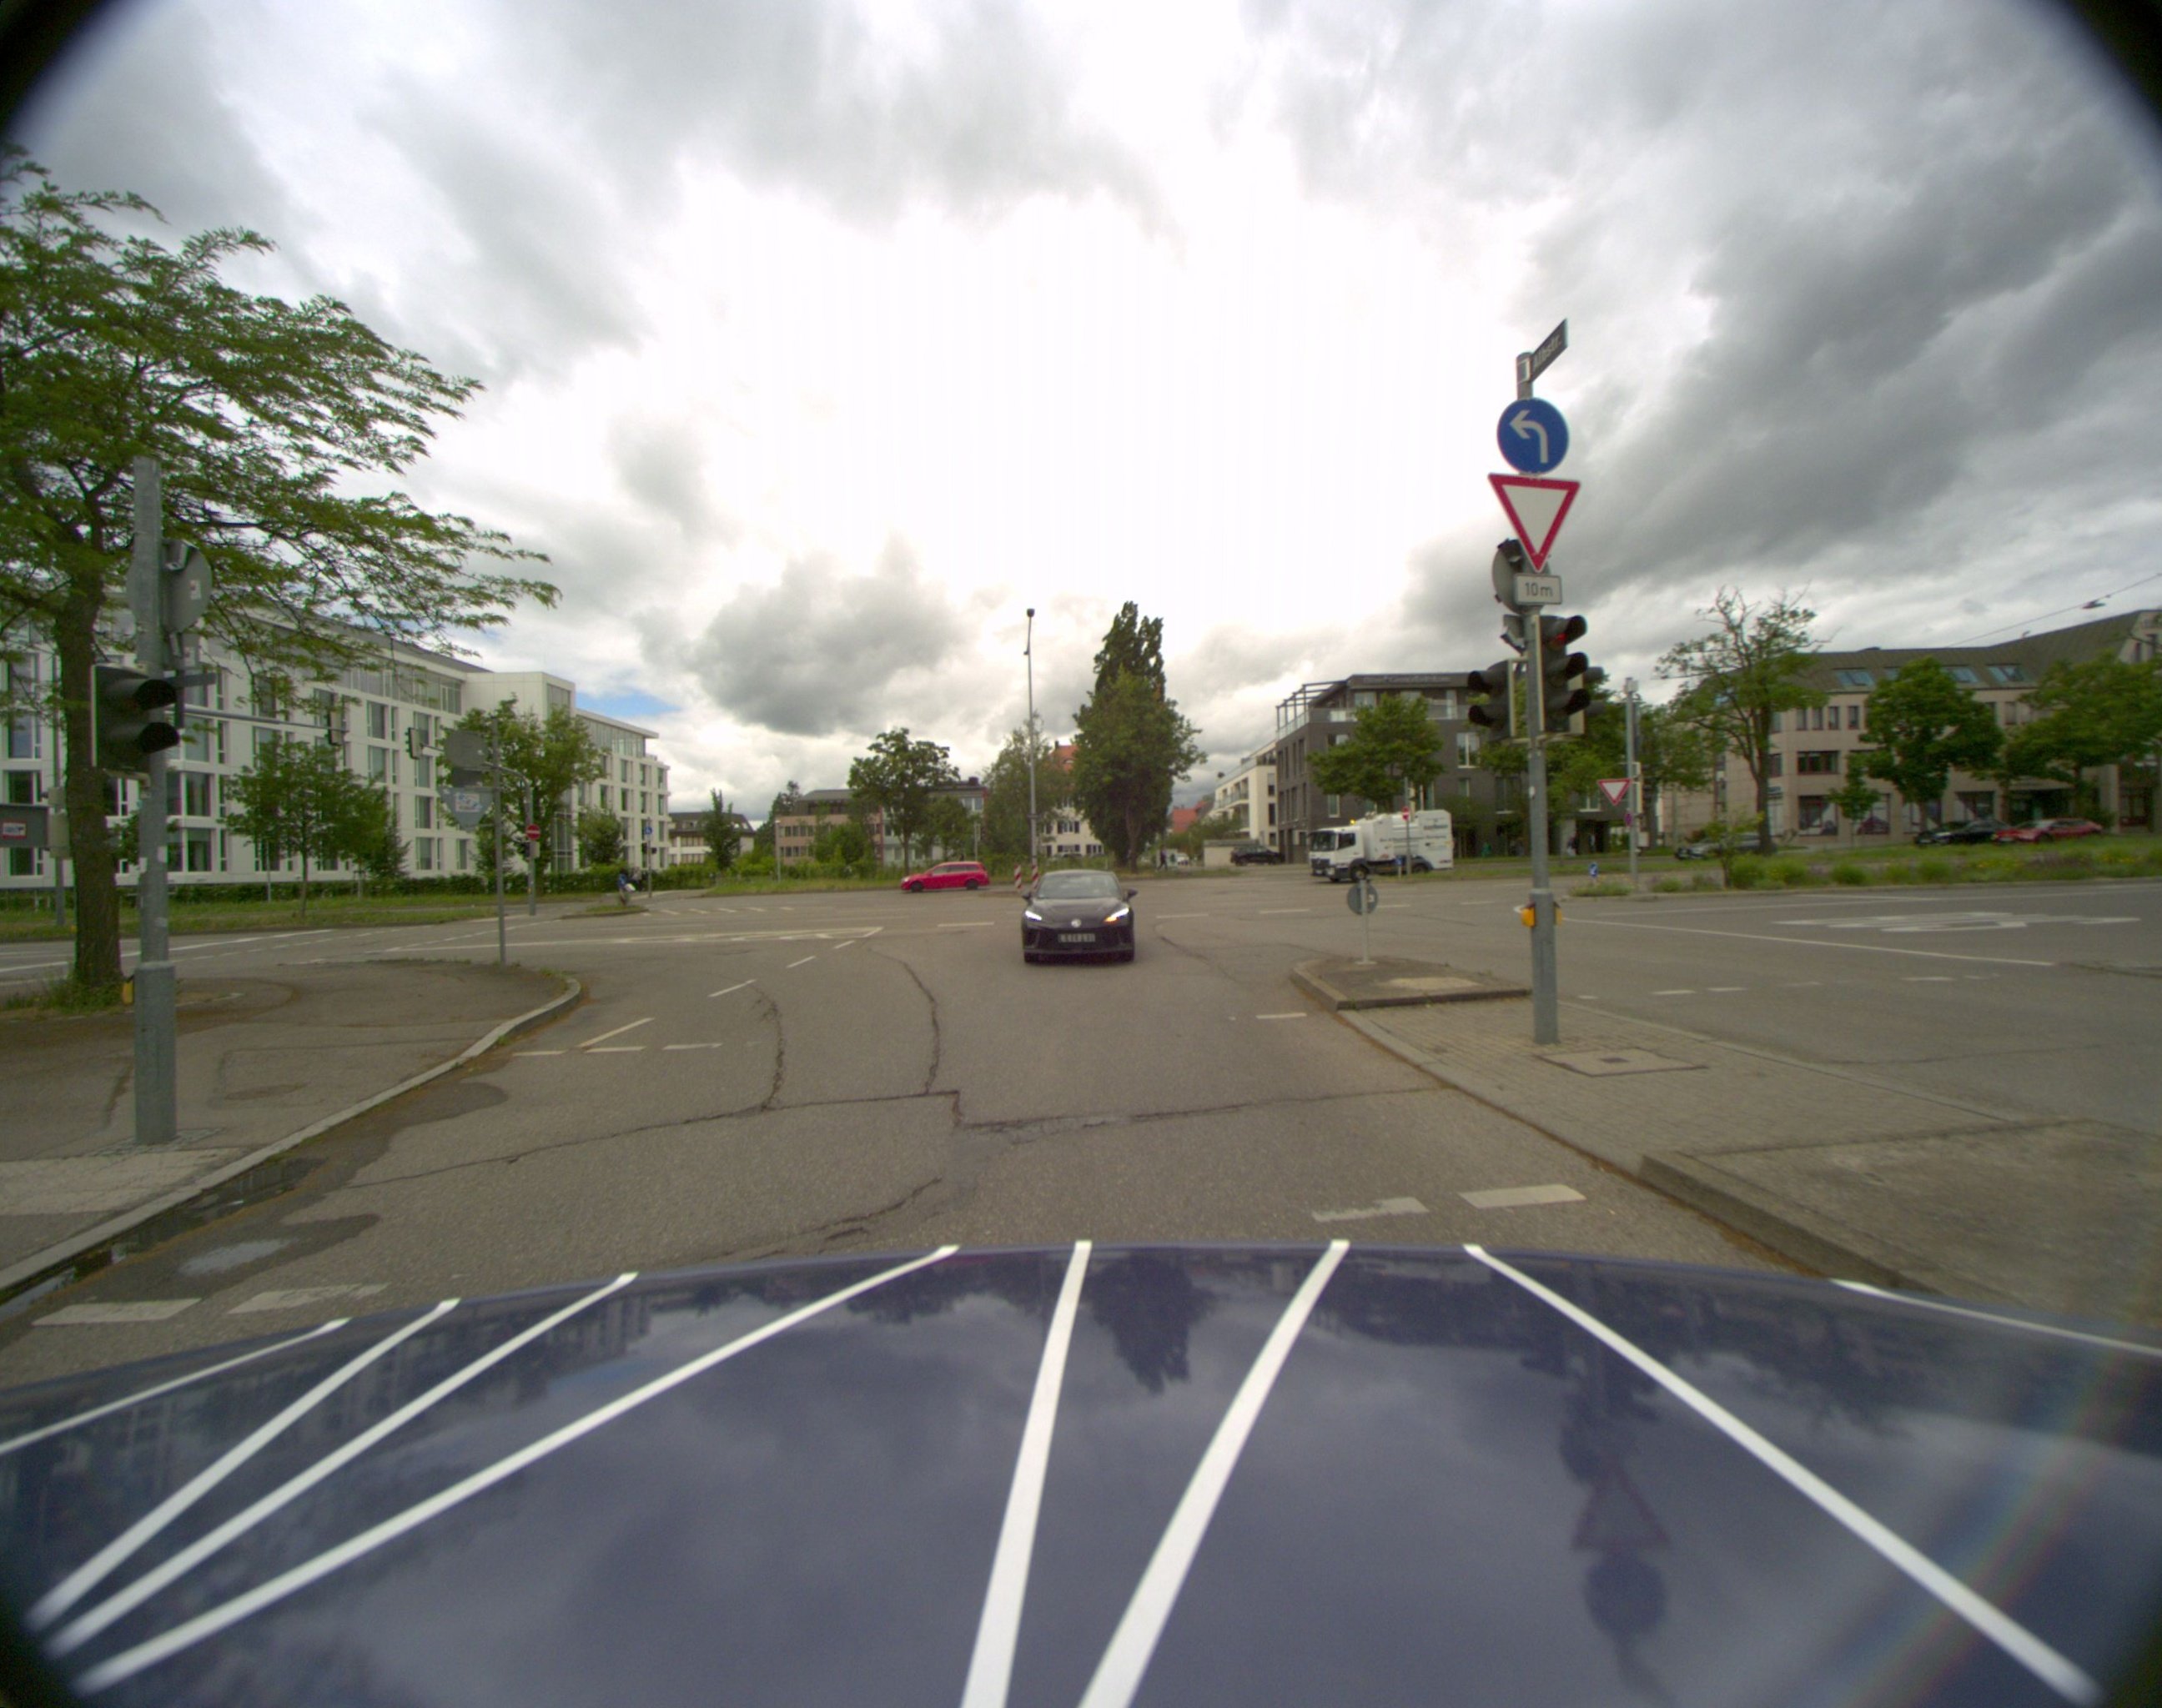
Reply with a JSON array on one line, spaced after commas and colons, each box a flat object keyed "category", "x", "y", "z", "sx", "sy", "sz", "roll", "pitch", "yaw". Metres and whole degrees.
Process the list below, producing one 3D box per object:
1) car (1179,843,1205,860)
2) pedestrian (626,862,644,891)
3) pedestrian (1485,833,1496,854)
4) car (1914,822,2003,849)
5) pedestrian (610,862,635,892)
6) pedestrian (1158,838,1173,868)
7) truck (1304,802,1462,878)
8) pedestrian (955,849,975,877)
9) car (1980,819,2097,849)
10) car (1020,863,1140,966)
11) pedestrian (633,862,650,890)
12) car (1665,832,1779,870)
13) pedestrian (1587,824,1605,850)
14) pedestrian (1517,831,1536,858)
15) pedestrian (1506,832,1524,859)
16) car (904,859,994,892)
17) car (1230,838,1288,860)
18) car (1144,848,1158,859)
[{"category": "car", "x": 11.862, "y": -0.224, "z": 81.405, "sx": 1.876, "sy": 1.630, "sz": 3.828, "roll": -4, "pitch": -1, "yaw": -3}, {"category": "pedestrian", "x": -26.281, "y": 1.331, "z": 44.773, "sx": 0.707, "sy": 1.616, "sz": 0.566, "roll": -4, "pitch": -1, "yaw": 21}, {"category": "pedestrian", "x": 27.508, "y": -0.708, "z": 51.073, "sx": 0.534, "sy": 1.349, "sz": 0.660, "roll": -4, "pitch": -1, "yaw": 26}, {"category": "car", "x": 51.399, "y": -1.085, "z": 44.535, "sx": 3.905, "sy": 1.477, "sz": 1.770, "roll": -1, "pitch": -2, "yaw": -13}, {"category": "pedestrian", "x": -26.632, "y": 1.338, "z": 44.147, "sx": 1.032, "sy": 1.616, "sz": 0.735, "roll": -4, "pitch": -1, "yaw": 24}, {"category": "pedestrian", "x": 5.282, "y": -0.054, "z": 47.451, "sx": 0.750, "sy": 1.786, "sz": 0.671, "roll": -4, "pitch": -1, "yaw": 3}, {"category": "truck", "x": 14.006, "y": -0.674, "z": 35.402, "sx": 6.467, "sy": 3.177, "sz": 2.435, "roll": -3, "pitch": 2, "yaw": -10}, {"category": "pedestrian", "x": -7.160, "y": 0.573, "z": 46.960, "sx": 1.004, "sy": 1.685, "sz": 0.607, "roll": -3, "pitch": -1, "yaw": -18}, {"category": "car", "x": 52.236, "y": -1.092, "z": 41.487, "sx": 4.376, "sy": 1.477, "sz": 1.826, "roll": -1, "pitch": -2, "yaw": -5}, {"category": "car", "x": 0.030, "y": 0.944, "z": 13.623, "sx": 1.800, "sy": 1.475, "sz": 4.019, "roll": -1, "pitch": 0, "yaw": 1}, {"category": "pedestrian", "x": -26.428, "y": 1.318, "z": 45.705, "sx": 0.689, "sy": 1.616, "sz": 0.660, "roll": -3, "pitch": -1, "yaw": -43}, {"category": "car", "x": 34.271, "y": -0.121, "z": 40.698, "sx": 4.603, "sy": 1.684, "sz": 1.999, "roll": -4, "pitch": -1, "yaw": -7}, {"category": "pedestrian", "x": 34.160, "y": -1.129, "z": 50.408, "sx": 0.598, "sy": 1.610, "sz": 0.694, "roll": -4, "pitch": -1, "yaw": -3}, {"category": "pedestrian", "x": 29.076, "y": -0.610, "z": 49.608, "sx": 0.649, "sy": 1.735, "sz": 0.693, "roll": -4, "pitch": -1, "yaw": -8}, {"category": "pedestrian", "x": 28.727, "y": -0.572, "z": 50.293, "sx": 0.698, "sy": 1.735, "sz": 0.693, "roll": -4, "pitch": -1, "yaw": -8}, {"category": "car", "x": -6.653, "y": 1.071, "z": 38.775, "sx": 4.355, "sy": 1.415, "sz": 1.999, "roll": -2, "pitch": 0, "yaw": -8}, {"category": "car", "x": 14.136, "y": -0.359, "z": 60.644, "sx": 4.122, "sy": 1.591, "sz": 2.000, "roll": -1, "pitch": -2, "yaw": 0}, {"category": "car", "x": 10.543, "y": -0.066, "z": 114.818, "sx": 1.955, "sy": 1.542, "sz": 3.967, "roll": -4, "pitch": -1, "yaw": 5}]
